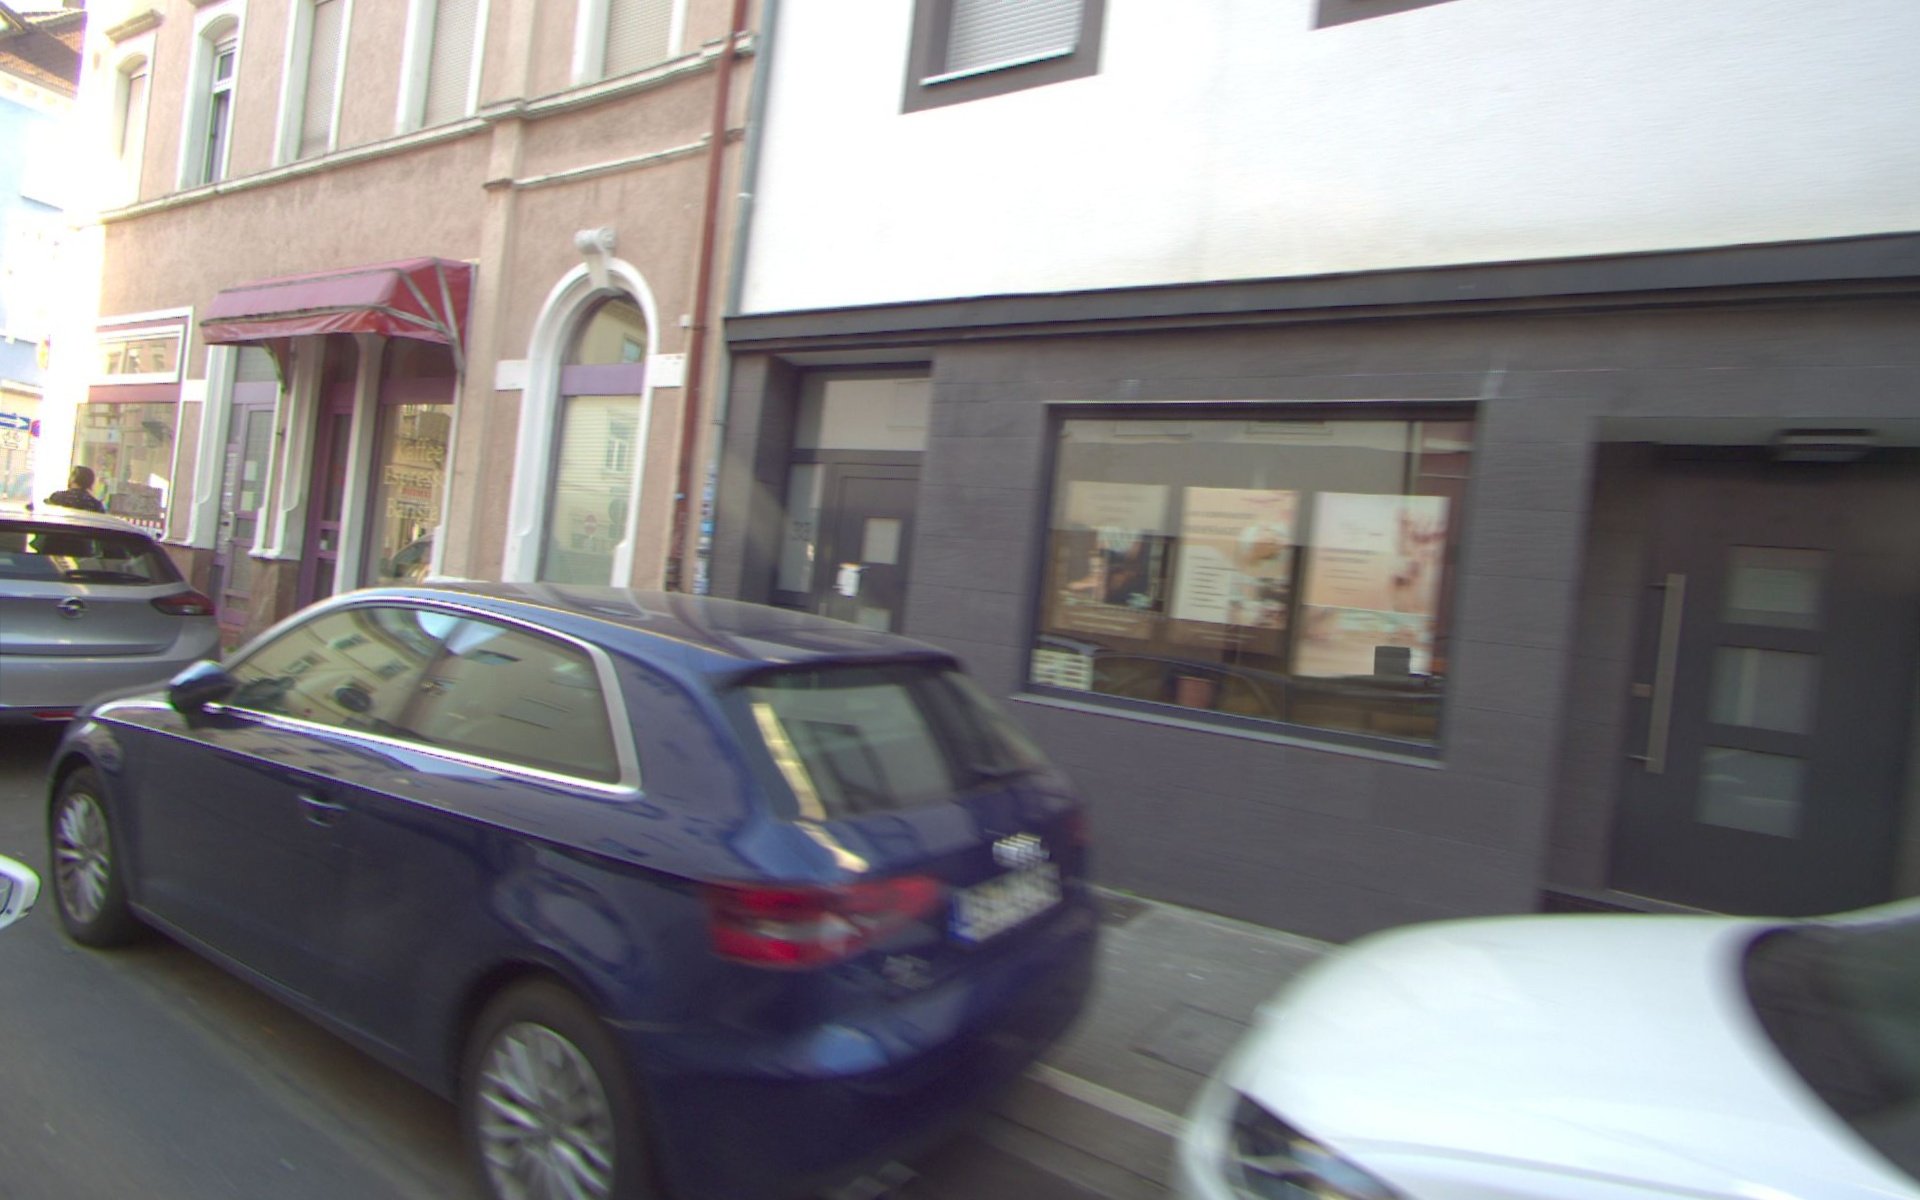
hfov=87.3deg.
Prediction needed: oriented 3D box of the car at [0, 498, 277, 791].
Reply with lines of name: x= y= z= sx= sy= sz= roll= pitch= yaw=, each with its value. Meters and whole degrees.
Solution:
car: x=-6.285 y=0.106 z=6.462 sx=3.738 sy=1.505 sz=1.751 roll=6 pitch=0 yaw=33

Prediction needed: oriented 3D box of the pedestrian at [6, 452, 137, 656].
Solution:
pedestrian: x=-9.395 y=-0.478 z=10.643 sx=0.751 sy=2.037 sz=0.645 roll=6 pitch=-2 yaw=31

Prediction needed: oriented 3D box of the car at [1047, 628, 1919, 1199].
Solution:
car: x=2.169 y=0.993 z=1.345 sx=3.754 sy=1.525 sz=1.667 roll=6 pitch=1 yaw=33

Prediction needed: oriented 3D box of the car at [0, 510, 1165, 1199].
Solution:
car: x=-1.509 y=0.592 z=3.416 sx=3.905 sy=1.495 sz=1.646 roll=6 pitch=3 yaw=32
